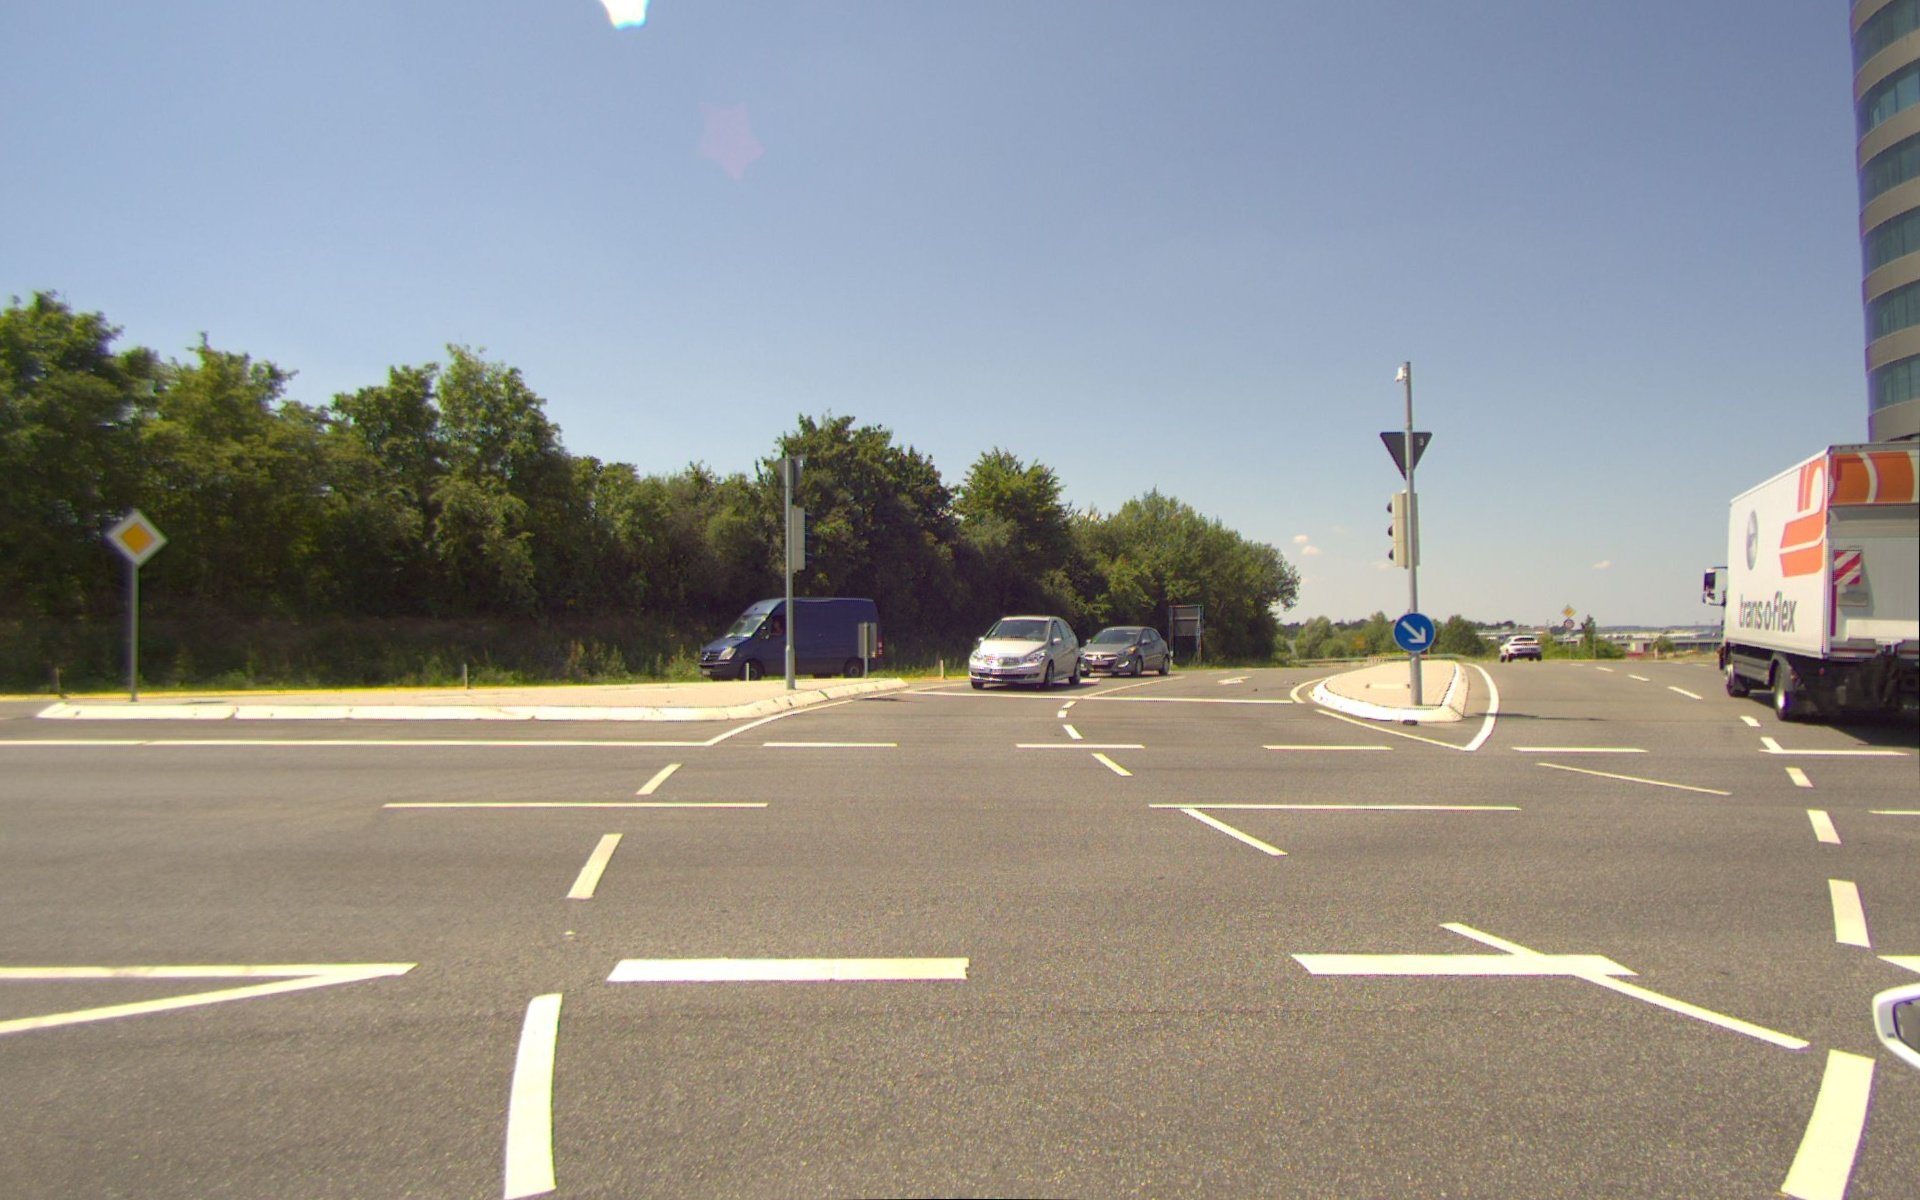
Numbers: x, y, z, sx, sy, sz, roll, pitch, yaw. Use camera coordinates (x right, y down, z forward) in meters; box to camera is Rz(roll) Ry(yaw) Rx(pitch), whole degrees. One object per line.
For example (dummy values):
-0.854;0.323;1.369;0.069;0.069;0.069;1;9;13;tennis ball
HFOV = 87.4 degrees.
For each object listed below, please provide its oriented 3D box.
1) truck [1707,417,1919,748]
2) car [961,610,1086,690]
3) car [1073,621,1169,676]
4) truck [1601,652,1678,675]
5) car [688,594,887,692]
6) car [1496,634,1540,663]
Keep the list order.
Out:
14.030;-0.137;15.717;2.729;3.911;9.351;0;-1;30;truck
1.554;1.136;22.792;1.742;1.616;4.331;0;-3;19;car
4.822;1.444;29.622;1.665;1.475;4.327;-1;-3;25;car
112.230;10.505;166.088;2.437;3.262;10.276;1;-1;-40;truck
-5.167;1.256;30.816;5.855;2.740;2.040;1;-1;-43;car
33.654;2.891;60.659;1.773;1.577;3.999;0;-1;21;car
